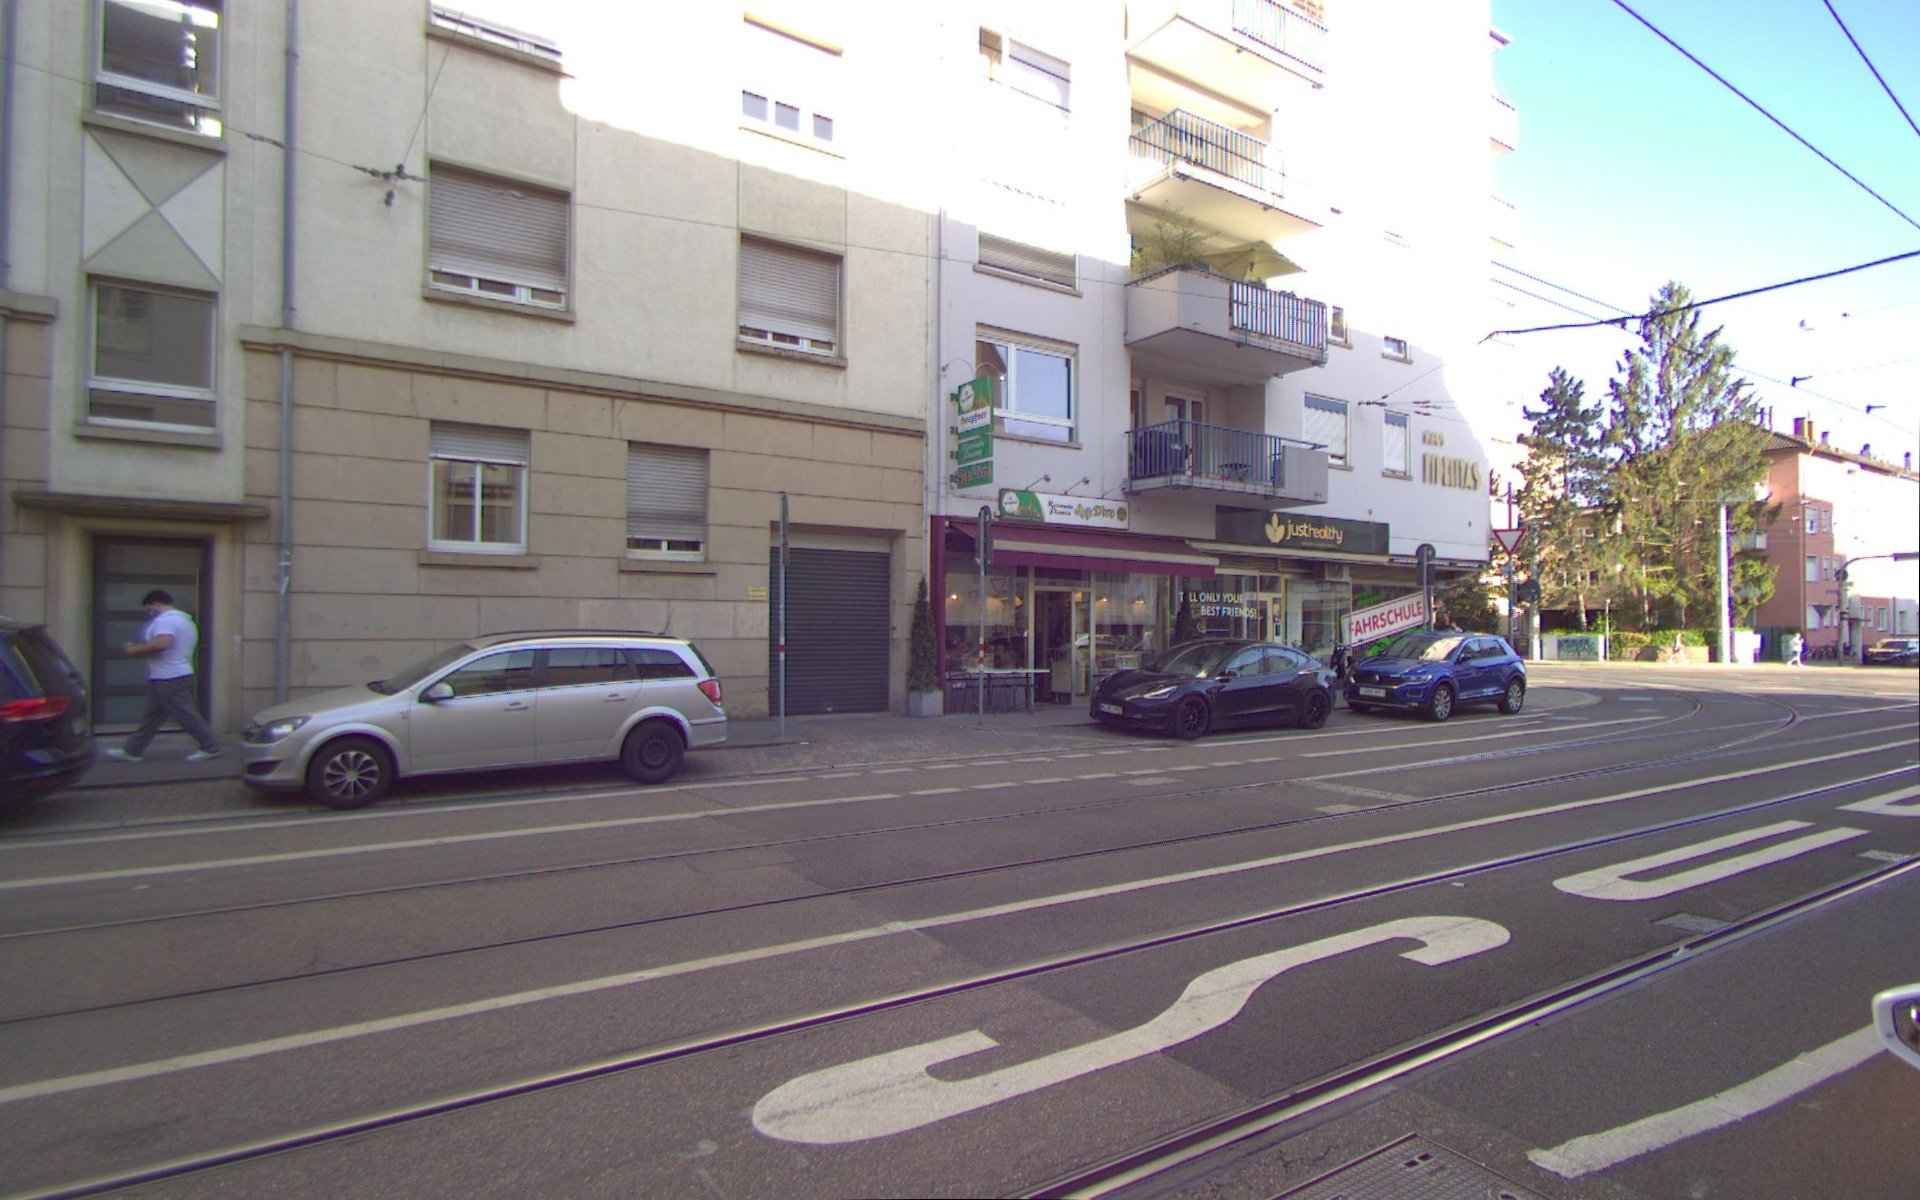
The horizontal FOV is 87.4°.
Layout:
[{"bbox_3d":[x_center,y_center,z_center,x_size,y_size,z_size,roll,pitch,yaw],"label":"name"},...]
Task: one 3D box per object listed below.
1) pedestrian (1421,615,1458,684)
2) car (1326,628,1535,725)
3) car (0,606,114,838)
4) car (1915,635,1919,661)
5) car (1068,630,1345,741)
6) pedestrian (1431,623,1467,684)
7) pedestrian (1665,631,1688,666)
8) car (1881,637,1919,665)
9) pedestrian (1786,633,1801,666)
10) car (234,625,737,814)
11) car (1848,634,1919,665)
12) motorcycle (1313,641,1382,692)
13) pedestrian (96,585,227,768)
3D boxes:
[{"bbox_3d":[13.613,1.408,28.531,0.727,1.925,0.573,3,-2,-15],"label":"pedestrian"},{"bbox_3d":[8.959,1.358,19.023,4.196,1.524,1.757,0,1,-36],"label":"car"},{"bbox_3d":[-8.972,0.862,7.169,4.282,1.655,1.802,2,1,-35],"label":"car"},{"bbox_3d":[58.234,2.877,59.348,4.185,1.546,1.731,2,0,-34],"label":"car"},{"bbox_3d":[4.009,1.292,16.063,4.398,1.494,1.759,2,0,-33],"label":"car"},{"bbox_3d":[14.622,1.586,30.052,0.653,1.816,0.733,1,-1,-27],"label":"pedestrian"},{"bbox_3d":[37.400,2.520,52.424,0.769,1.744,0.704,2,0,21],"label":"pedestrian"},{"bbox_3d":[53.923,2.861,56.673,4.057,1.456,1.893,2,0,-32],"label":"car"},{"bbox_3d":[41.568,2.461,50.092,0.510,1.589,0.571,2,0,38],"label":"pedestrian"},{"bbox_3d":[-4.650,1.061,10.202,4.327,1.474,1.714,2,1,-35],"label":"car"},{"bbox_3d":[49.736,2.656,53.893,4.397,1.450,2.140,4,-1,-35],"label":"car"},{"bbox_3d":[9.238,1.578,23.905,1.778,1.149,0.603,2,0,-34],"label":"motorcycle"},{"bbox_3d":[-8.256,0.755,10.399,0.998,1.791,0.656,2,0,-40],"label":"pedestrian"}]
